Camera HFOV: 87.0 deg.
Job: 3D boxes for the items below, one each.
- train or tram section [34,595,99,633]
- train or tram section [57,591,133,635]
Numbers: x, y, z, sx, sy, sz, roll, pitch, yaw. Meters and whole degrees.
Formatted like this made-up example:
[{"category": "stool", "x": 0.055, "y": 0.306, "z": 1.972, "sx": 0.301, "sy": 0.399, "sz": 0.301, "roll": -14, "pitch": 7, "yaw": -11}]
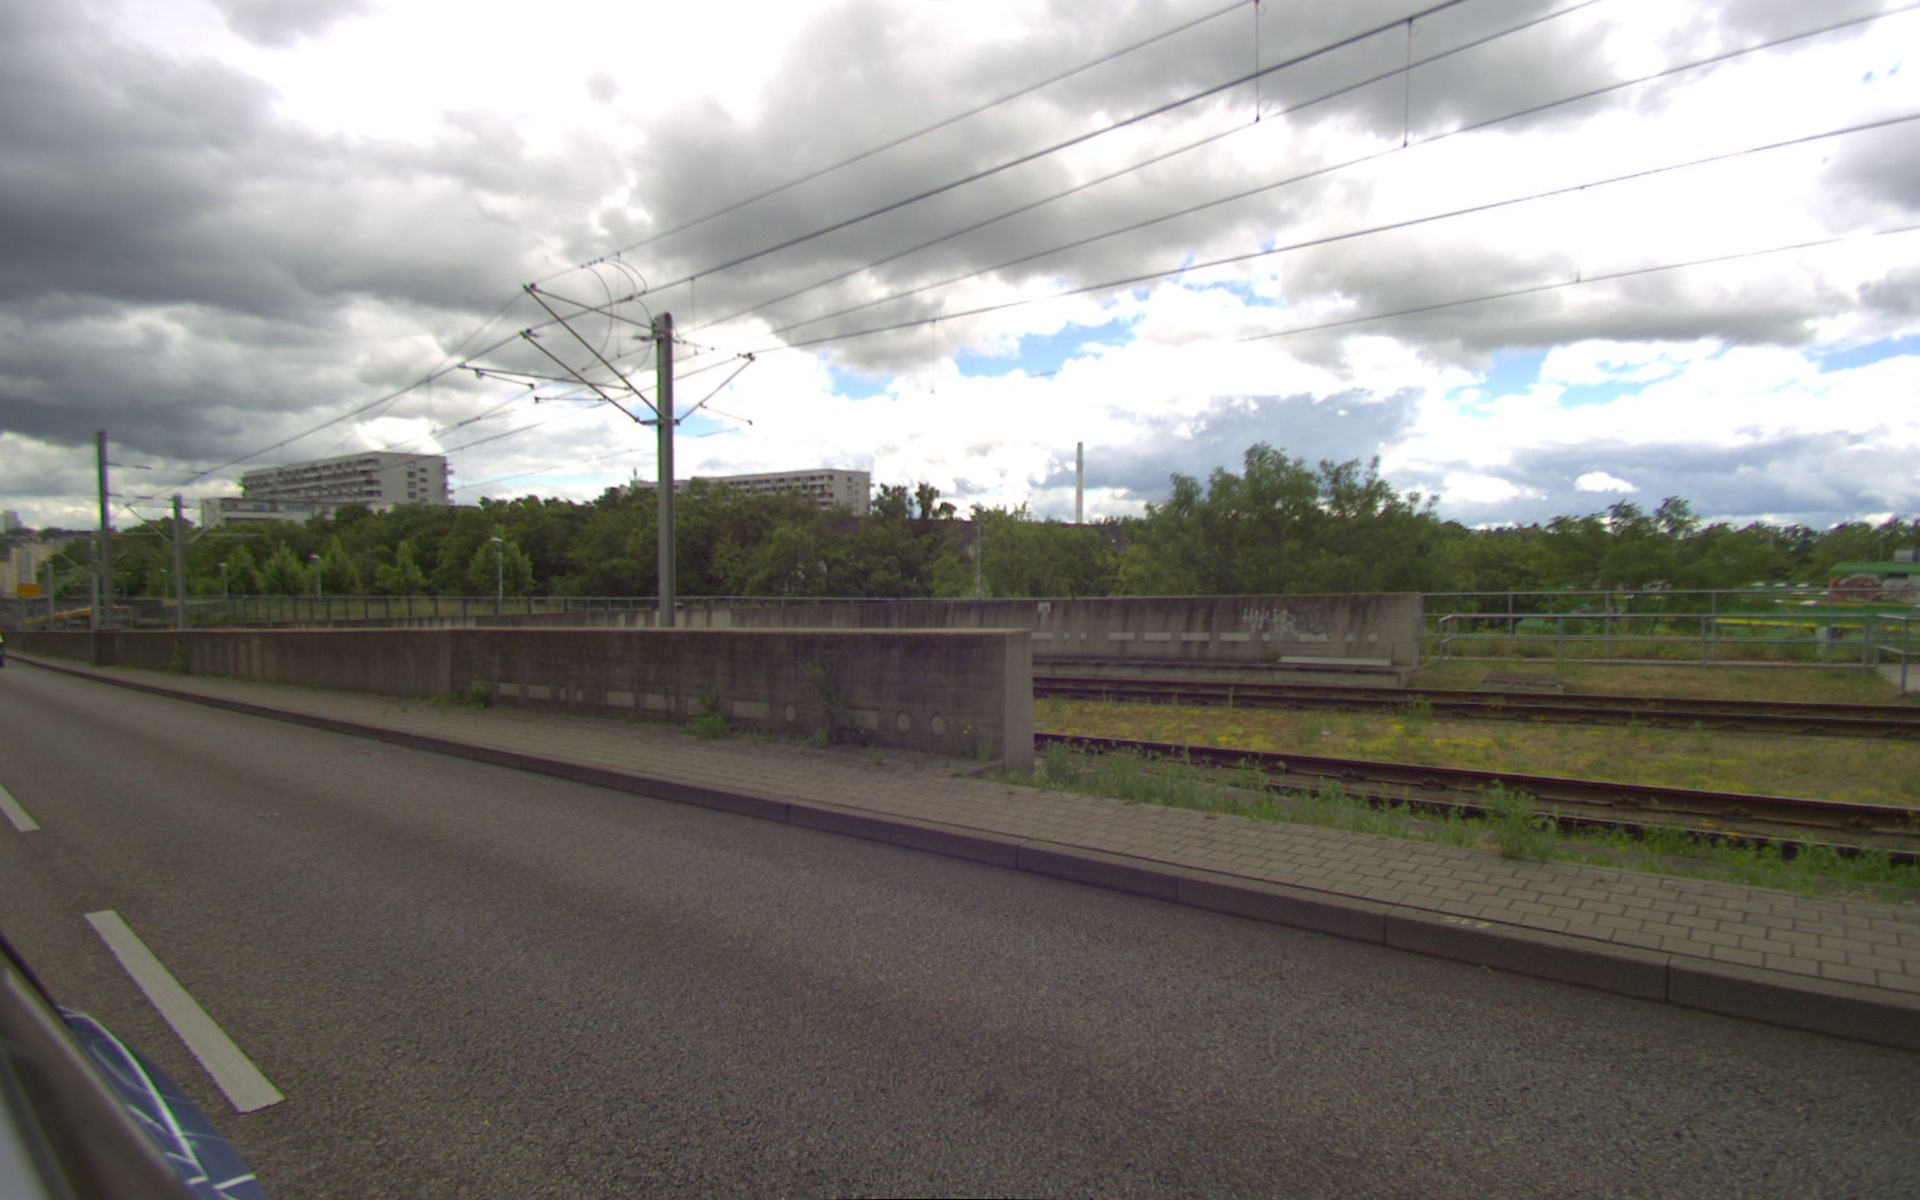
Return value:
[{"category": "train or tram section", "x": -82.807, "y": 1.263, "z": 93.590, "sx": 18.475, "sy": 3.217, "sz": 2.750, "roll": -1, "pitch": 0, "yaw": 43}, {"category": "train or tram section", "x": -69.363, "y": 1.047, "z": 80.909, "sx": 18.477, "sy": 3.217, "sz": 2.750, "roll": -1, "pitch": 0, "yaw": 44}]
